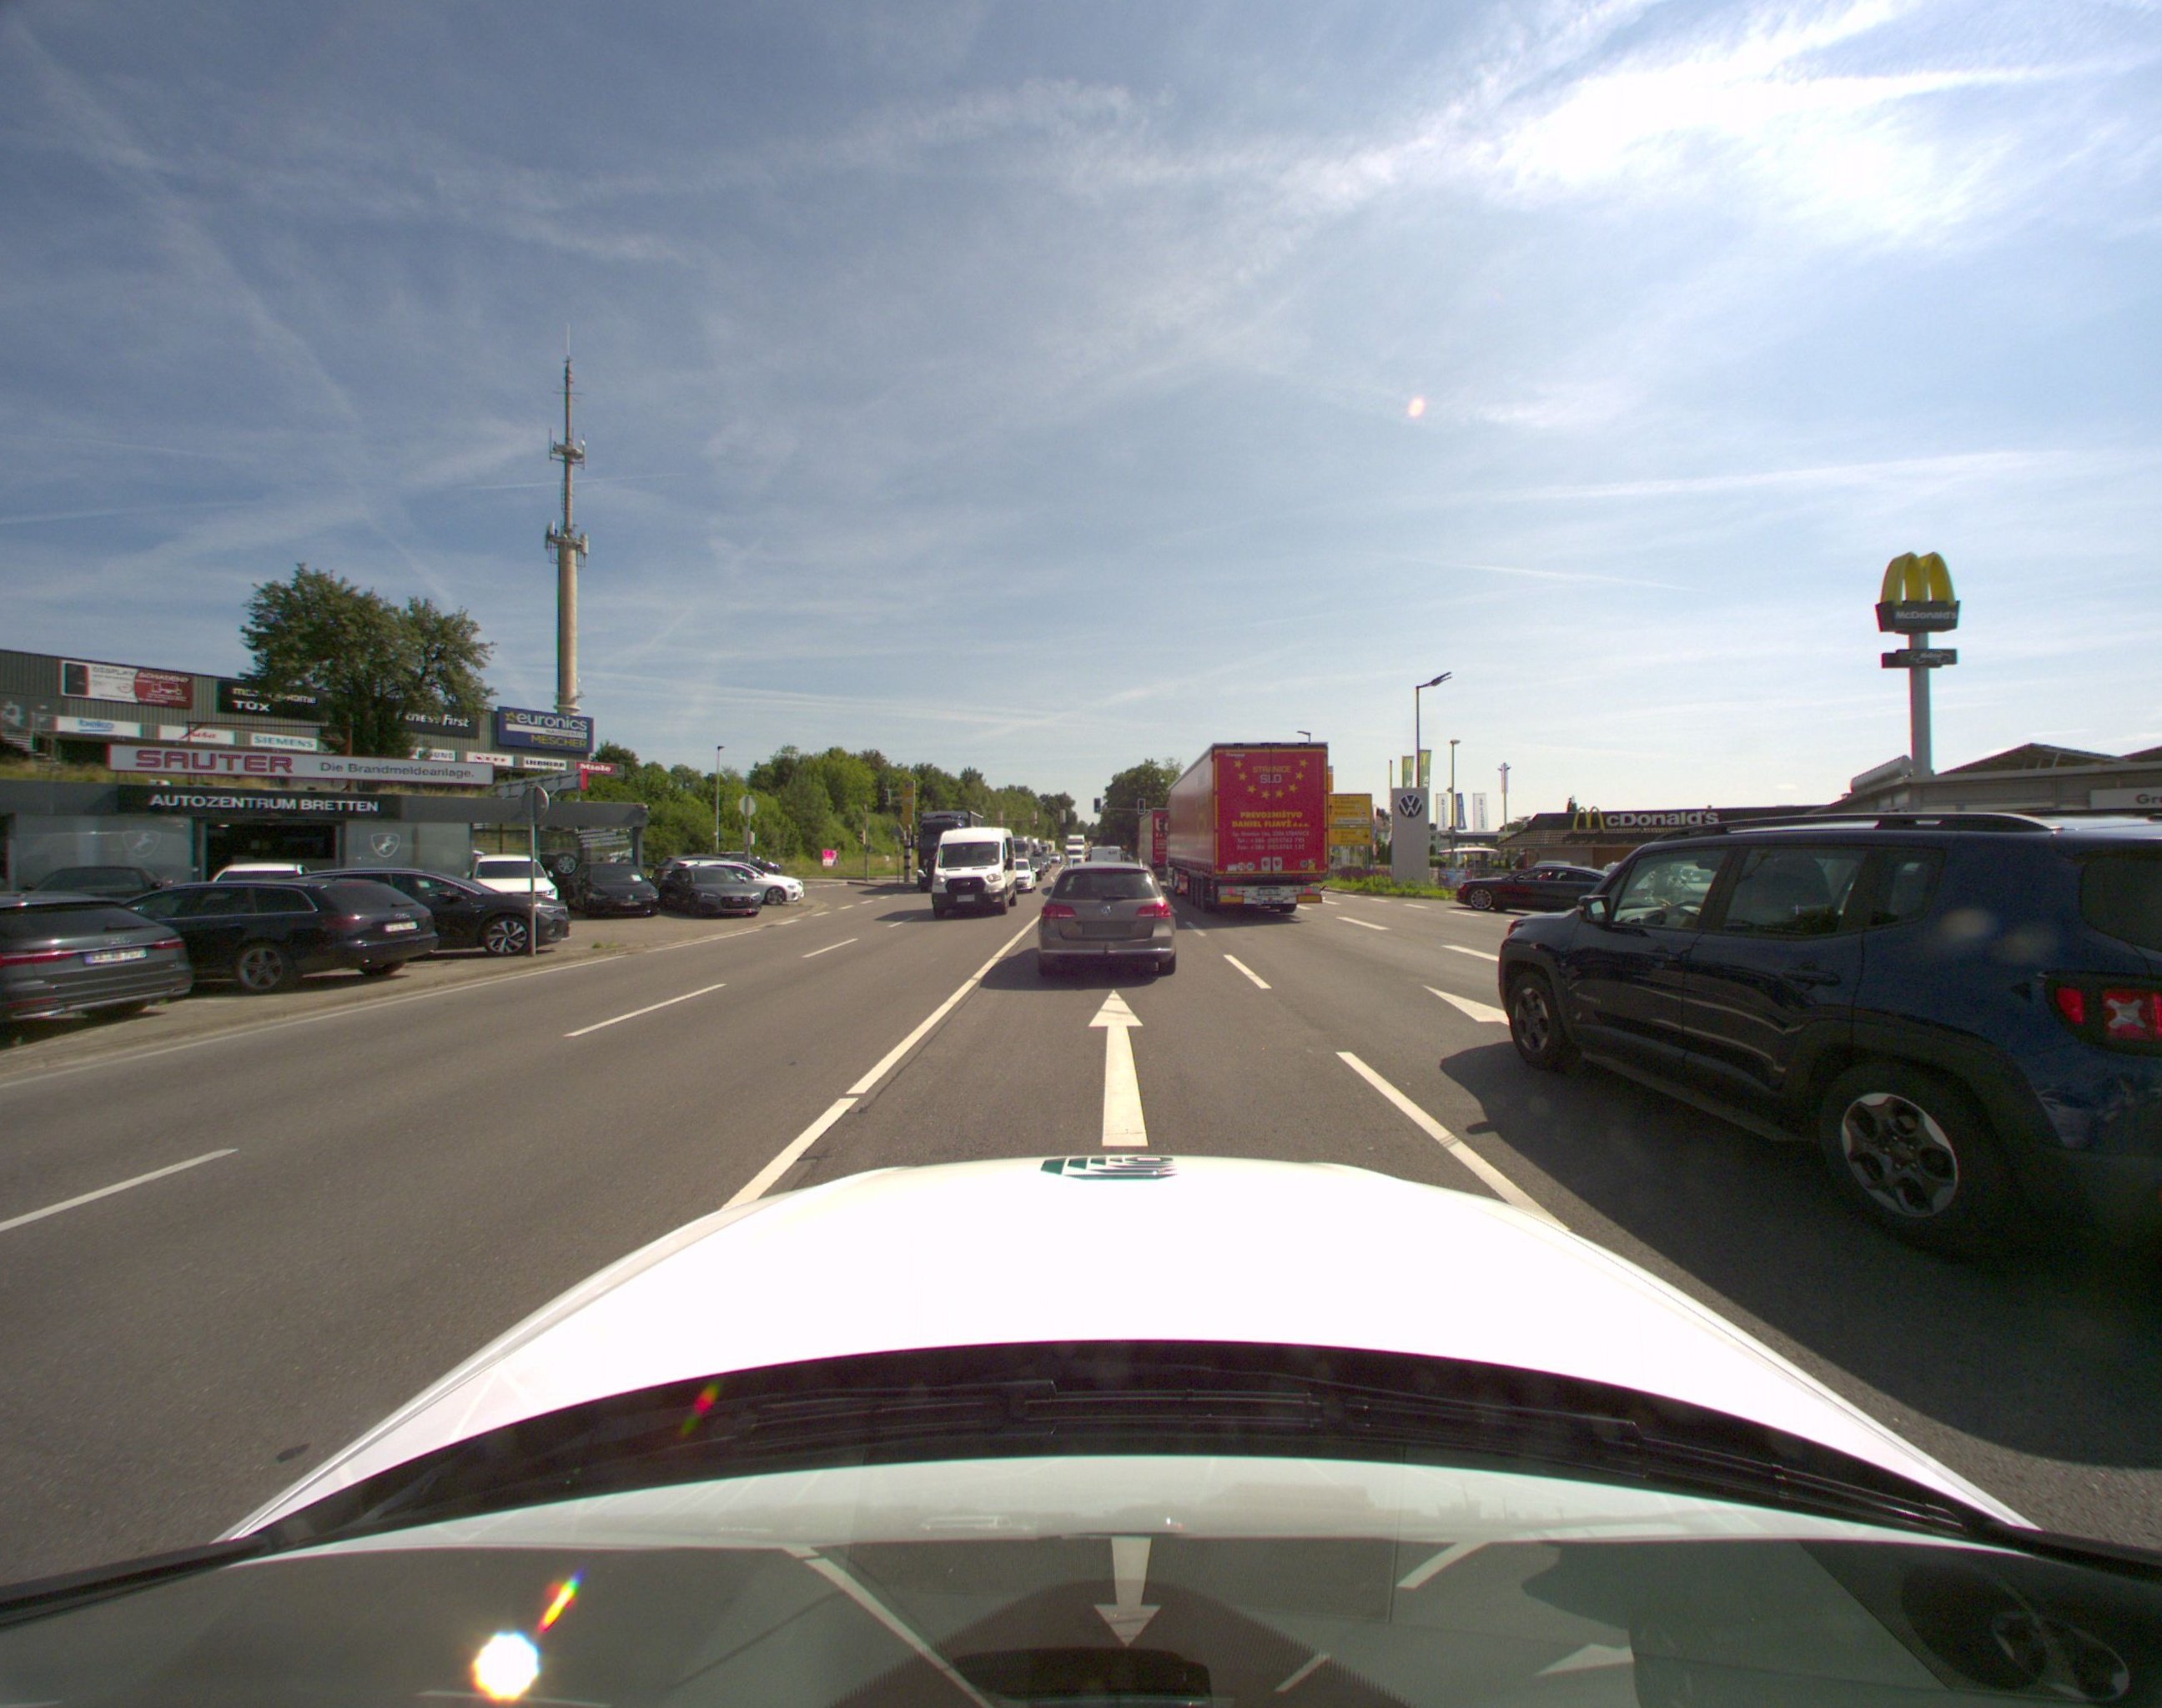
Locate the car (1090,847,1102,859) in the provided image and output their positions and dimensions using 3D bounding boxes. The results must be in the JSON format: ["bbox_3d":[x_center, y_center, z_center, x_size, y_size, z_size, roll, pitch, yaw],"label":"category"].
[{"bbox_3d":[2.670,-0.107,142.694,1.987,2.013,3.999,-1,0,-1],"label":"car"}]

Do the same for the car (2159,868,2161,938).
[{"bbox_3d":[21.731,1.039,15.115,4.232,1.457,1.872,-1,0,-39],"label":"car"}]

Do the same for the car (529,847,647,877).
[{"bbox_3d":[-25.993,0.453,43.030,5.001,1.419,1.926,3,-3,-43],"label":"car"}]

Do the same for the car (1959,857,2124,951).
[{"bbox_3d":[20.242,0.948,17.130,4.017,1.671,1.900,-1,0,-36],"label":"car"}]

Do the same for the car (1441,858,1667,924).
[{"bbox_3d":[12.341,0.941,21.494,1.977,1.332,4.759,5,-1,-43],"label":"car"}]

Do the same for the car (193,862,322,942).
[{"bbox_3d":[-18.743,1.004,18.708,1.837,1.524,4.094,0,1,-42],"label":"car"}]

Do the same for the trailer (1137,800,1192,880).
[{"bbox_3d":[4.953,-0.759,50.551,2.386,4.243,13.082,-1,0,2],"label":"trailer"}]

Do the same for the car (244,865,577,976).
[{"bbox_3d":[-11.584,1.055,14.521,4.192,1.623,2.013,-1,0,-26],"label":"car"}]

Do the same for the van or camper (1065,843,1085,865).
[{"bbox_3d":[-0.757,0.047,101.762,2.323,2.600,6.978,-1,0,0],"label":"van or camper"}]

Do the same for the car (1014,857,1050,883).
[{"bbox_3d":[-2.968,0.955,50.299,1.705,1.443,4.381,-3,0,2],"label":"car"}]

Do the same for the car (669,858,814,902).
[{"bbox_3d":[-12.900,1.000,31.087,4.739,1.513,1.933,3,-1,-39],"label":"car"}]

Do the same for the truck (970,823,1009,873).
[{"bbox_3d":[-7.718,-0.474,69.209,2.714,3.998,6.052,-1,0,-2],"label":"truck"}]

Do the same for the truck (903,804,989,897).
[{"bbox_3d":[-6.455,-0.166,40.591,2.703,3.998,9.971,-1,0,-1],"label":"truck"}]

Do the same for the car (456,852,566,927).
[{"bbox_3d":[-15.491,0.856,22.024,1.903,1.748,4.416,0,1,-42],"label":"car"}]

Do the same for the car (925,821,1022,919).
[{"bbox_3d":[-3.056,0.412,24.765,2.053,2.510,7.111,-1,0,-1],"label":"car"}]

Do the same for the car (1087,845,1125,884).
[{"bbox_3d":[1.244,0.527,42.462,1.765,1.936,3.976,-1,0,-1],"label":"car"}]

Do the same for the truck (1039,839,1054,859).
[{"bbox_3d":[-7.285,-0.982,173.602,2.721,3.999,9.616,-1,0,-1],"label":"truck"}]

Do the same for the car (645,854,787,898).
[{"bbox_3d":[-14.601,0.912,32.725,4.821,1.626,1.909,3,-2,-40],"label":"car"}]

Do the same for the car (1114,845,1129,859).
[{"bbox_3d":[5.901,-0.334,119.989,1.987,2.013,3.999,-1,0,-1],"label":"car"}]

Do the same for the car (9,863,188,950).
[{"bbox_3d":[-20.739,1.008,17.391,1.826,1.524,4.293,0,1,-42],"label":"car"}]

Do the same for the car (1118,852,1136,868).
[{"bbox_3d":[5.702,0.743,101.866,1.987,2.013,3.999,-1,0,-1],"label":"car"}]

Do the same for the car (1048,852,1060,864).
[{"bbox_3d":[-4.115,0.604,124.354,1.837,1.732,4.587,1,1,-1],"label":"car"}]

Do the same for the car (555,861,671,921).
[{"bbox_3d":[-13.608,0.986,23.555,4.291,1.486,1.810,1,1,44],"label":"car"}]

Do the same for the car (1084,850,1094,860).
[{"bbox_3d":[1.760,0.204,171.954,1.987,2.013,3.999,-1,0,-1],"label":"car"}]

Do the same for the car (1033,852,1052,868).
[{"bbox_3d":[-4.248,0.674,90.812,1.915,1.602,4.587,-2,1,-1],"label":"car"}]

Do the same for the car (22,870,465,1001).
[{"bbox_3d":[-11.369,1.056,11.314,4.020,1.530,2.032,-1,0,1],"label":"car"}]

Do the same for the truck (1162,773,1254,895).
[{"bbox_3d":[4.756,-0.701,31.592,2.858,4.281,5.843,1,0,2],"label":"truck"}]

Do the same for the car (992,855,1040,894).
[{"bbox_3d":[-2.782,0.847,35.499,1.648,1.555,4.000,-3,0,0],"label":"car"}]

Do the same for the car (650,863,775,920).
[{"bbox_3d":[-11.267,1.065,24.754,4.583,1.436,1.986,1,1,45],"label":"car"}]

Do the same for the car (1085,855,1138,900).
[{"bbox_3d":[1.067,0.831,30.400,1.765,1.513,3.998,-1,0,-1],"label":"car"}]

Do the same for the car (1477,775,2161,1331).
[{"bbox_3d":[3.968,0.575,4.419,1.764,1.654,4.001,-1,0,2],"label":"car"}]

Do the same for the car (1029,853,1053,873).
[{"bbox_3d":[-3.579,0.775,73.548,1.903,1.602,4.587,-3,1,-1],"label":"car"}]

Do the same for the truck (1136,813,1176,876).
[{"bbox_3d":[5.165,-0.617,56.809,2.397,4.127,5.523,-1,0,1],"label":"truck"}]

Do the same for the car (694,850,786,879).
[{"bbox_3d":[-20.235,0.647,48.482,4.661,1.527,1.892,3,-1,-43],"label":"car"}]

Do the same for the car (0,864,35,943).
[{"bbox_3d":[-22.682,1.023,16.062,1.821,1.524,4.049,0,1,-42],"label":"car"}]

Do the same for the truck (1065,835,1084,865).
[{"bbox_3d":[-0.948,-0.589,115.530,2.530,4.088,6.262,-1,0,-1],"label":"truck"}]

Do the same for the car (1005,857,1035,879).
[{"bbox_3d":[-4.582,1.043,61.919,1.855,1.524,4.589,-2,0,1],"label":"car"}]

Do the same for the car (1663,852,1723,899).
[{"bbox_3d":[24.213,0.805,32.240,1.753,1.671,4.197,-1,0,37],"label":"car"}]

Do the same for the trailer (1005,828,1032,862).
[{"bbox_3d":[-7.749,-1.054,101.940,2.635,4.105,6.183,-1,0,2],"label":"trailer"}]

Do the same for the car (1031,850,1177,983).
[{"bbox_3d":[0.250,0.734,11.530,1.686,1.513,3.998,-1,0,-1],"label":"car"}]

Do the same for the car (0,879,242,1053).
[{"bbox_3d":[-11.961,1.105,8.453,4.353,1.530,2.029,-1,0,0],"label":"car"}]

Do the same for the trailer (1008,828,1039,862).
[{"bbox_3d":[-7.574,-1.107,108.567,2.682,4.147,13.883,-1,0,1],"label":"trailer"}]

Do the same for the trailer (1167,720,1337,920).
[{"bbox_3d":[4.463,-0.745,24.506,2.828,4.365,13.175,1,0,2],"label":"trailer"}]

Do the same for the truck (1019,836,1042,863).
[{"bbox_3d":[-8.061,-0.673,130.592,3.178,4.079,6.343,-1,0,-1],"label":"truck"}]

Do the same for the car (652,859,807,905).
[{"bbox_3d":[-12.270,0.995,28.521,4.732,1.475,1.874,2,-1,-32],"label":"car"}]

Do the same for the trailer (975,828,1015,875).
[{"bbox_3d":[-7.907,-0.230,76.220,2.714,3.998,12.224,-1,0,-2],"label":"trailer"}]
